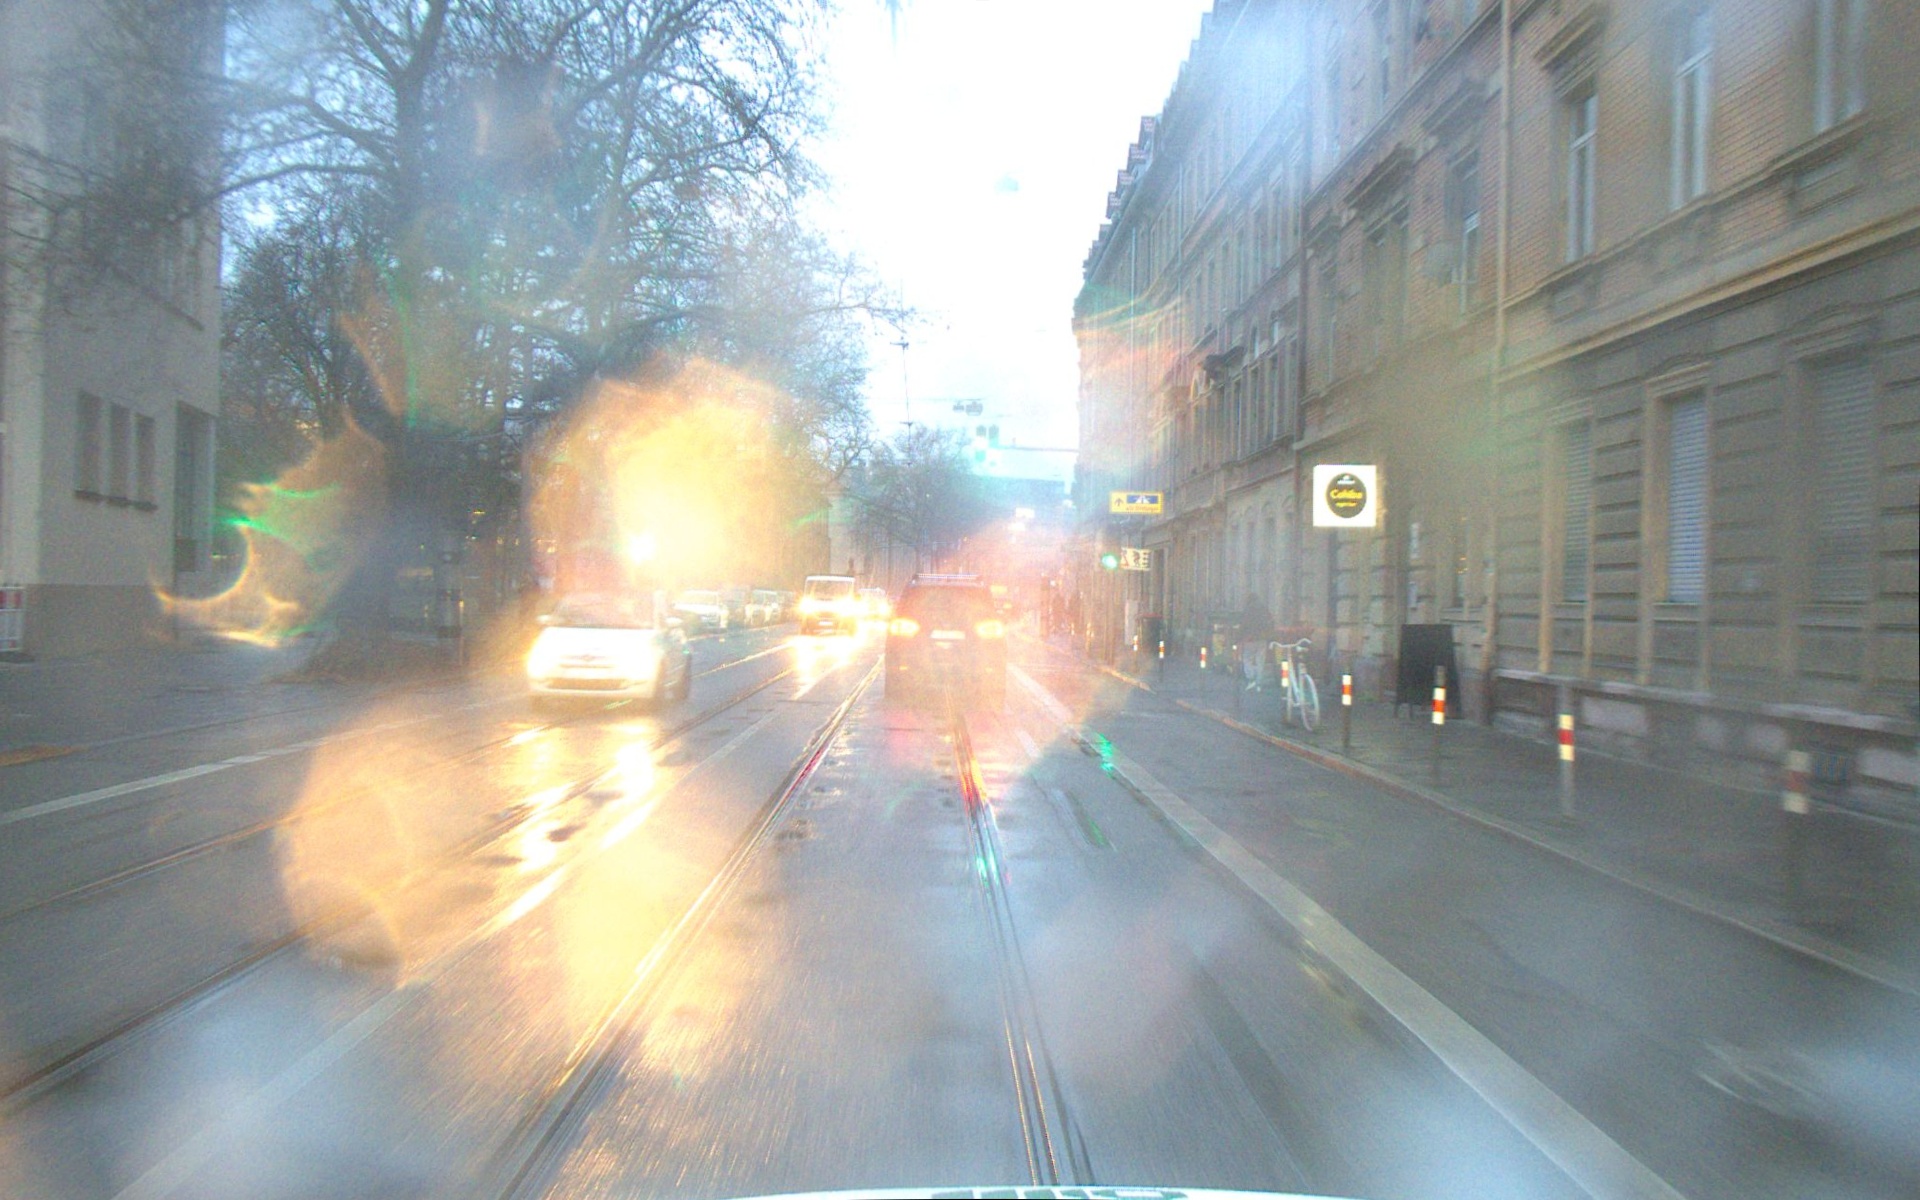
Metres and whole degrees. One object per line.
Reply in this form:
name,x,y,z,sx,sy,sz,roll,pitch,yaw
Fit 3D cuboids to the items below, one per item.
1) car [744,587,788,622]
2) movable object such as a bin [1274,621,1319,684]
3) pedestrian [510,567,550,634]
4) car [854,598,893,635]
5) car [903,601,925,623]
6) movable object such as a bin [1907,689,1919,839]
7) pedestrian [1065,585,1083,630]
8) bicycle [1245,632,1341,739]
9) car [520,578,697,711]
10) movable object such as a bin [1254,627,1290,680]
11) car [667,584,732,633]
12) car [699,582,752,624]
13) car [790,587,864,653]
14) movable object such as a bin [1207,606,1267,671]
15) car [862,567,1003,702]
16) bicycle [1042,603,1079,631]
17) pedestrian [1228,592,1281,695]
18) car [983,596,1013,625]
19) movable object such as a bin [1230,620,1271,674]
car,-9.518,0.233,81.337,1.945,1.643,4.424,2,0,-5
movable object such as a bin,5.965,0.927,29.291,0.604,1.099,0.487,1,0,-29
pedestrian,-12.299,0.017,47.351,0.803,1.847,1.010,2,-1,2
car,-4.996,0.934,96.147,1.952,2.049,4.000,2,0,1
car,-4.459,1.129,160.883,1.953,2.049,3.999,2,0,-1
movable object such as a bin,6.412,1.062,10.494,0.496,0.947,0.507,1,0,-2
pedestrian,5.093,0.341,73.676,0.701,1.987,0.657,2,-1,-1
bicycle,4.017,0.999,20.086,0.670,1.176,2.188,2,0,-1
car,-4.356,0.512,20.949,1.499,1.507,3.560,1,0,-1
movable object such as a bin,5.661,0.961,29.976,0.482,0.945,0.421,1,0,-28
car,-9.301,0.298,59.270,1.945,1.643,4.424,2,0,-5
car,-9.831,0.145,69.643,1.945,1.643,4.424,2,0,-5
car,-5.017,0.748,63.382,2.397,2.388,5.843,0,0,-1
movable object such as a bin,5.703,0.782,34.091,0.871,1.311,1.260,1,0,-8
car,-0.340,0.497,25.537,1.952,1.874,4.001,1,0,2
bicycle,4.460,0.744,73.453,0.781,1.164,2.230,2,0,-20
pedestrian,5.105,0.741,28.724,0.817,1.731,0.954,2,-1,7
car,2.584,0.723,112.986,1.952,1.874,4.001,1,0,1
movable object such as a bin,5.805,0.933,33.017,0.748,1.056,0.600,1,0,14
